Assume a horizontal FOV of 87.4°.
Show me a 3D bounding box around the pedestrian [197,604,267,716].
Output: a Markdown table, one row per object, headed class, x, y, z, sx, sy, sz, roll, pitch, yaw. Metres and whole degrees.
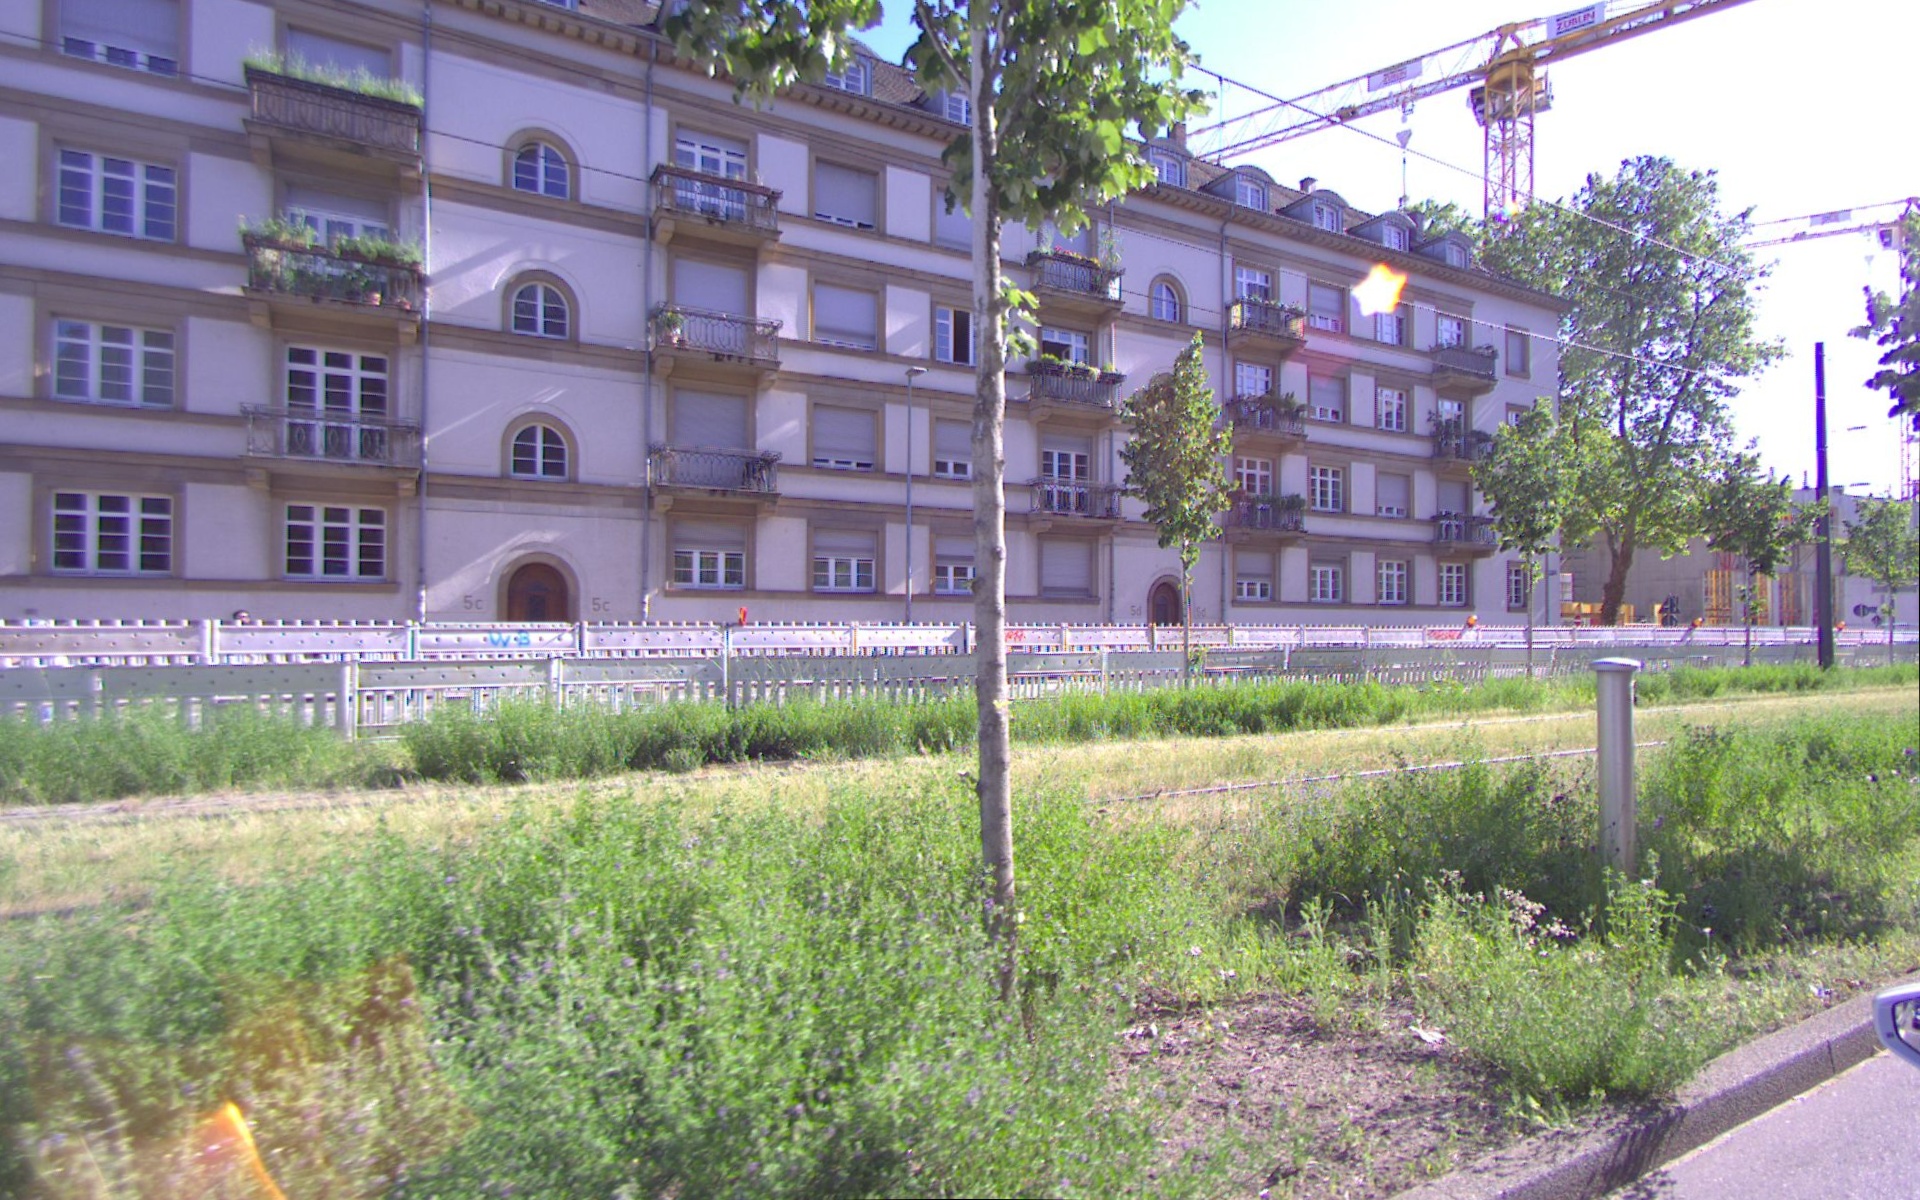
| class | x | y | z | sx | sy | sz | roll | pitch | yaw |
| --- | --- | --- | --- | --- | --- | --- | --- | --- | --- |
| pedestrian | -12.653 | 1.025 | 17.492 | 0.861 | 1.888 | 0.763 | 2 | -1 | -30 |
